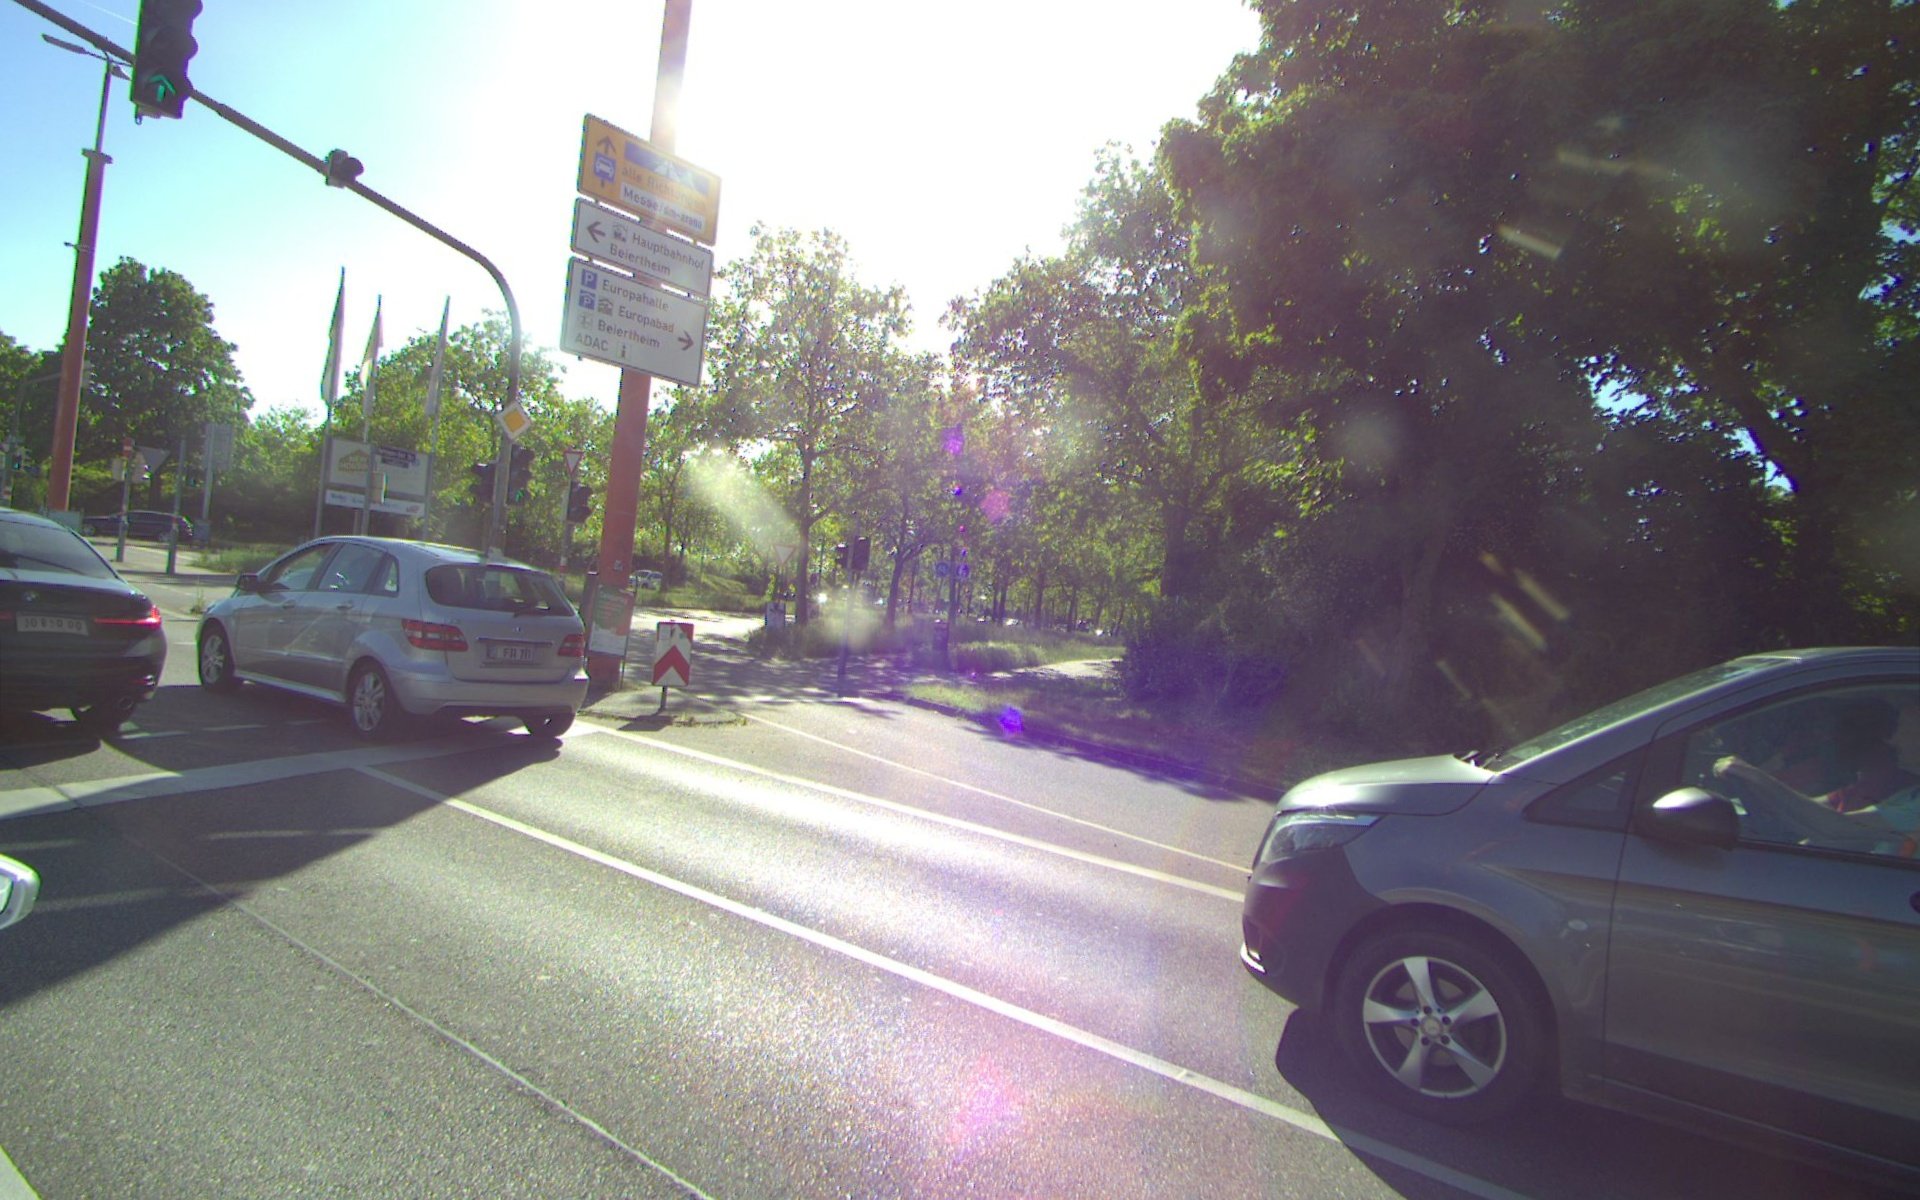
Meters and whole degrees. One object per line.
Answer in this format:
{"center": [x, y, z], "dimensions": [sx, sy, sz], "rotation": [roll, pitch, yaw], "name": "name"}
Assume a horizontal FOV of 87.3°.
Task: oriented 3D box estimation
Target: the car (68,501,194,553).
{"center": [-38.132, -3.321, 46.429], "dimensions": [4.263, 1.654, 1.752], "rotation": [9, -2, -37], "name": "car"}

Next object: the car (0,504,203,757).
{"center": [-7.331, -0.011, 6.925], "dimensions": [4.222, 1.458, 1.768], "rotation": [6, -2, 30], "name": "car"}

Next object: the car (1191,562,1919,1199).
{"center": [3.587, 1.092, 3.363], "dimensions": [5.021, 1.875, 1.806], "rotation": [7, 0, 34], "name": "car"}

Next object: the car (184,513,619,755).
{"center": [-5.150, 0.248, 9.166], "dimensions": [3.784, 1.626, 1.719], "rotation": [6, -2, 32], "name": "car"}

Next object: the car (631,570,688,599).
{"center": [-22.819, -1.155, 76.532], "dimensions": [1.737, 1.655, 4.297], "rotation": [7, -1, 23], "name": "car"}
